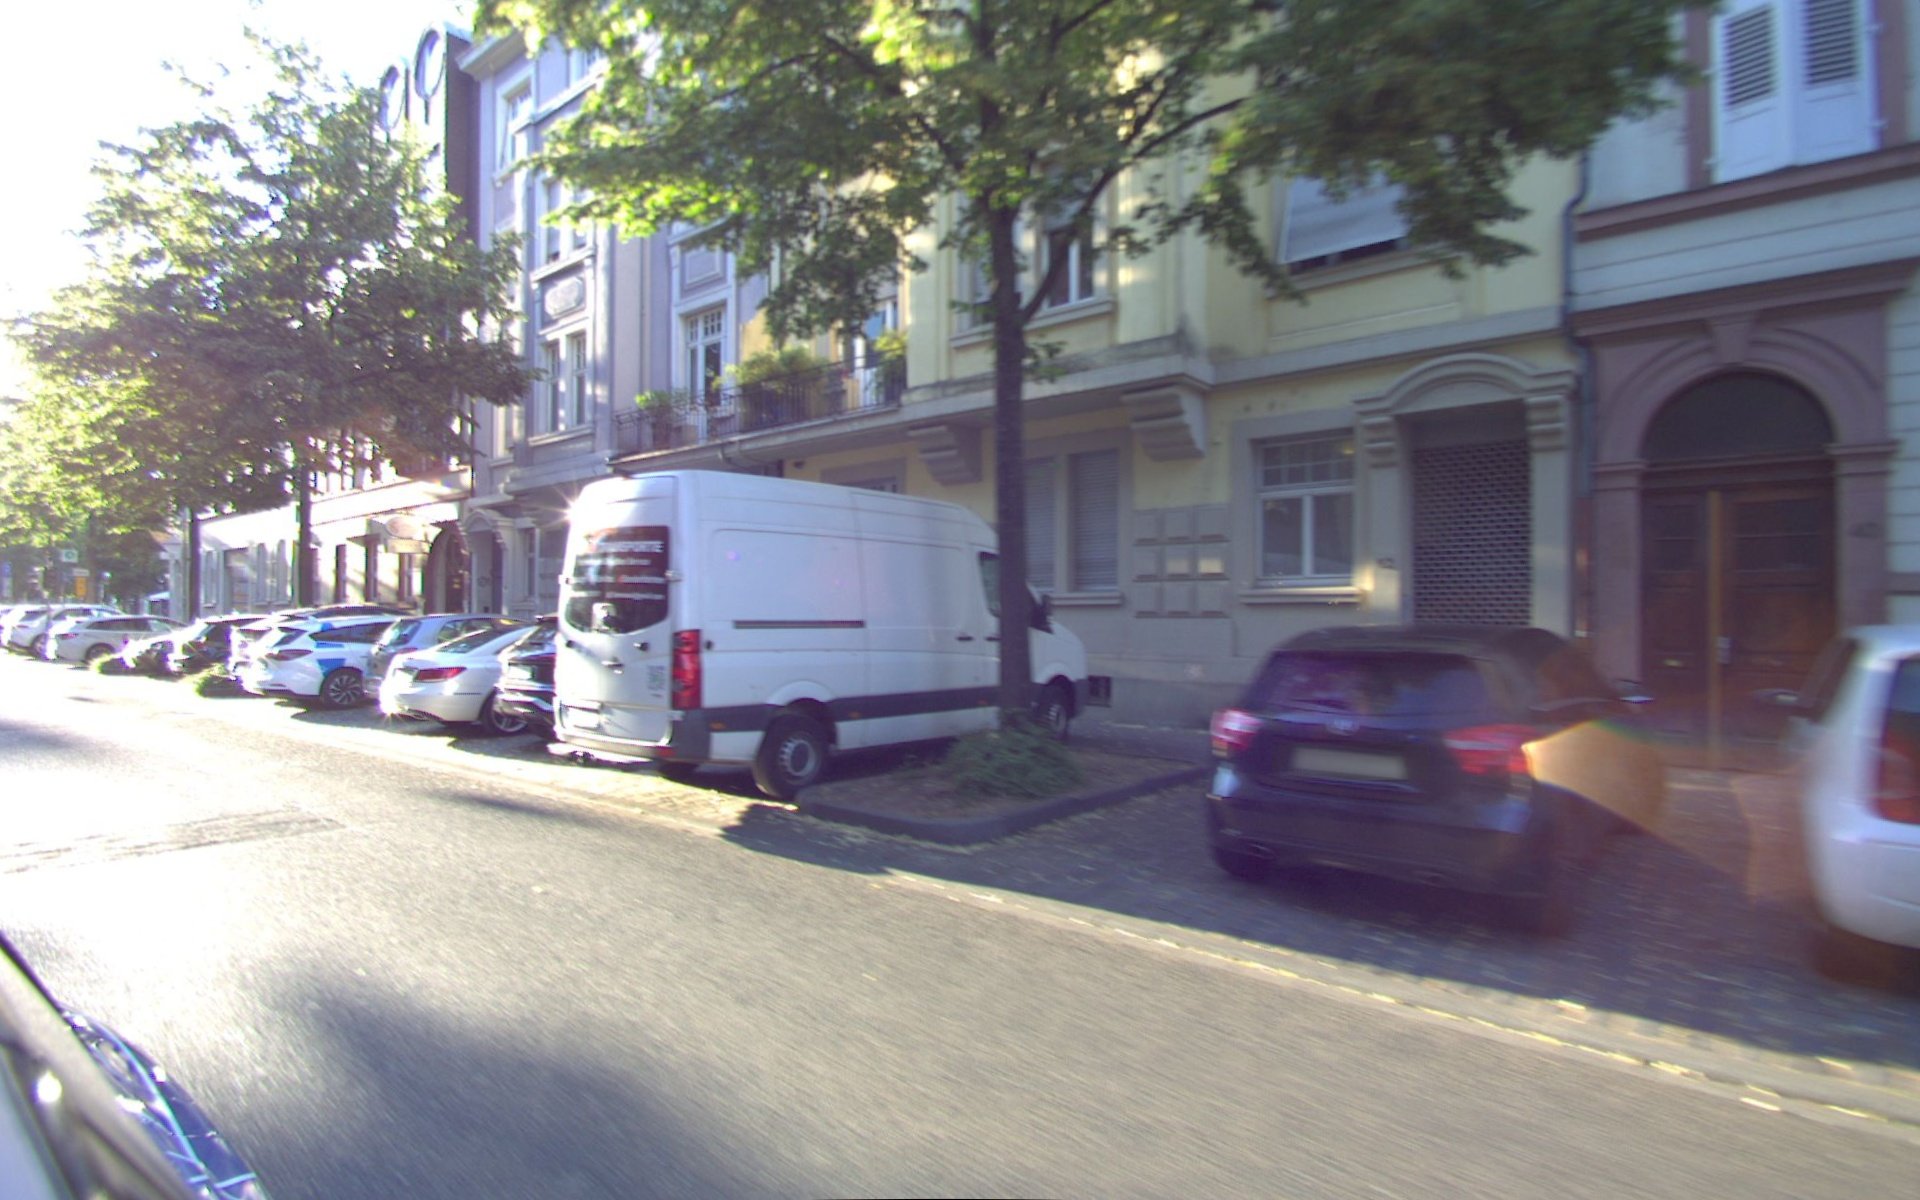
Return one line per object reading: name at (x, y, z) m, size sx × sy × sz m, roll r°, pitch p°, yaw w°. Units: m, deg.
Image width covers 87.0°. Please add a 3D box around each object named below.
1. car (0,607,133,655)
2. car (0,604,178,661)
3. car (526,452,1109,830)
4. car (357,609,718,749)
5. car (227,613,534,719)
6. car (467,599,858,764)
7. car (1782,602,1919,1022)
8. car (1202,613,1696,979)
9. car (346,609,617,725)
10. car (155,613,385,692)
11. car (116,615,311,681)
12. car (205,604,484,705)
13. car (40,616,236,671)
car at (-35.848, 1.194, 40.077) m, size 1.945 × 1.796 × 4.510 m, roll 0°, pitch -1°, yaw 40°
car at (-30.698, 1.097, 35.659) m, size 2.052 × 1.825 × 4.657 m, roll -1°, pitch 0°, yaw 42°
car at (-0.991, 0.270, 9.916) m, size 2.170 × 2.641 × 5.600 m, roll -1°, pitch 0°, yaw 41°
car at (-5.555, 0.934, 13.737) m, size 1.792 × 1.517 × 4.170 m, roll -1°, pitch 0°, yaw 40°
car at (-9.759, 1.017, 17.301) m, size 1.969 × 1.494 × 4.144 m, roll -1°, pitch 0°, yaw 40°
car at (-3.455, 0.830, 12.351) m, size 1.975 × 1.612 × 4.168 m, roll -1°, pitch 0°, yaw 42°
car at (4.963, 0.766, 4.626) m, size 1.710 × 1.478 × 3.338 m, roll -1°, pitch 0°, yaw 37°
car at (3.197, 0.817, 6.156) m, size 1.749 × 1.414 × 3.945 m, roll 0°, pitch 0°, yaw 41°
car at (-7.332, 0.940, 15.673) m, size 1.847 × 1.521 × 3.369 m, roll -1°, pitch 0°, yaw 44°
car at (-15.203, 1.092, 22.461) m, size 1.695 × 1.459 × 3.878 m, roll -1°, pitch 0°, yaw 38°
car at (-19.013, 1.157, 25.862) m, size 1.789 × 1.459 × 3.744 m, roll -1°, pitch 0°, yaw 43°
car at (-11.708, 0.959, 19.505) m, size 1.890 × 1.663 × 4.192 m, roll -1°, pitch 0°, yaw 37°
car at (-24.686, 1.262, 30.519) m, size 1.821 × 1.434 × 4.337 m, roll -1°, pitch 0°, yaw 40°
